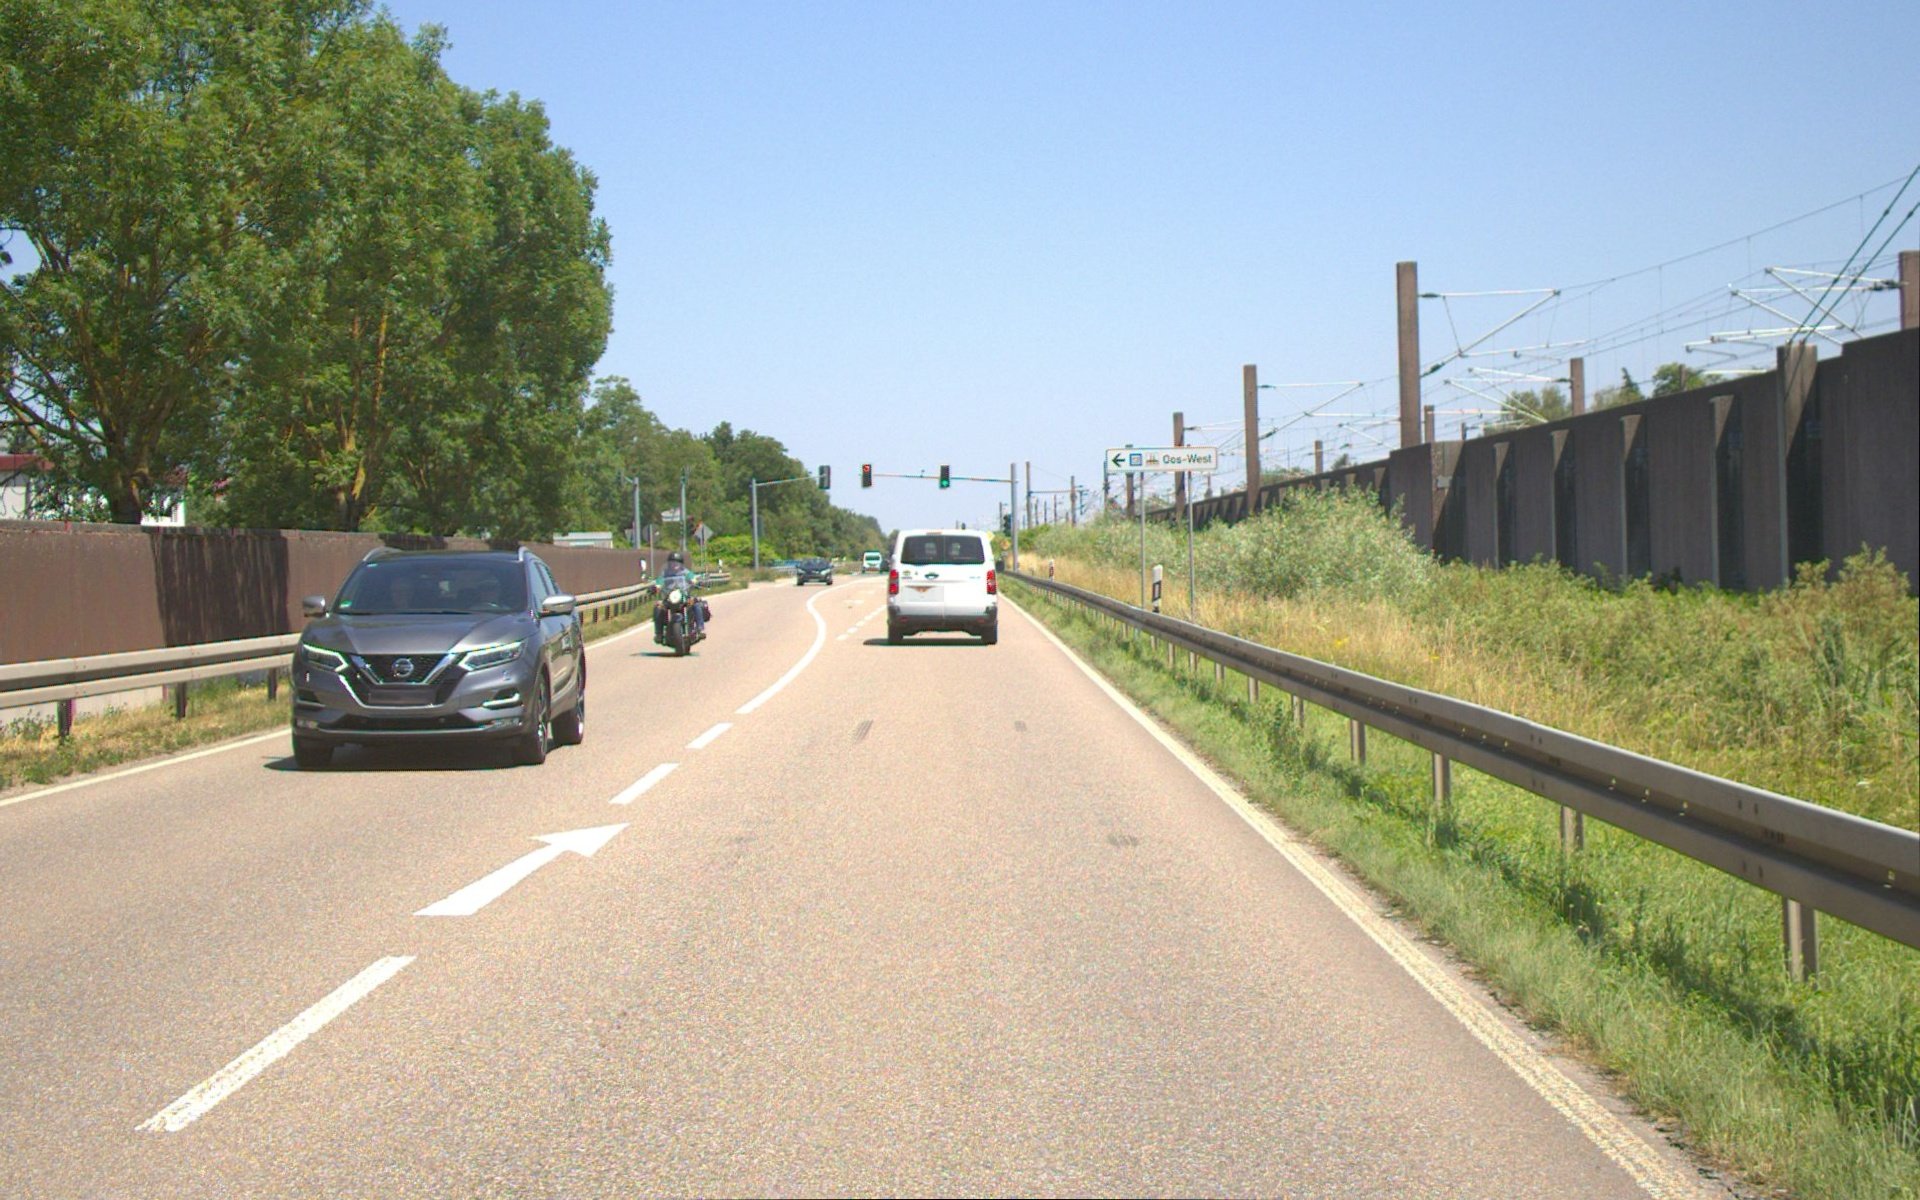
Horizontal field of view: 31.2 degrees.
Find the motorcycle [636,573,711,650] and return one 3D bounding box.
[{"bbox_3d":[-4.317,0.165,51.974,0.953,1.104,2.336,1,1,-1],"label":"motorcycle"}]

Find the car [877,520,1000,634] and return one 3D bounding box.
[{"bbox_3d":[-0.346,-0.413,58.505,1.993,1.843,4.000,1,1,0],"label":"car"}]

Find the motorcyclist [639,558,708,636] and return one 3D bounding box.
[{"bbox_3d":[-4.324,-0.047,51.982,0.937,1.126,0.927,2,1,-1],"label":"motorcyclist"}]

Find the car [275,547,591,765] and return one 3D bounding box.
[{"bbox_3d":[-3.925,0.361,26.253,1.789,1.520,4.390,0,1,-1],"label":"car"}]

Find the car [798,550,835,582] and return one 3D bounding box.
[{"bbox_3d":[-7.495,-1.795,180.123,1.819,1.590,4.000,1,1,-1],"label":"car"}]
